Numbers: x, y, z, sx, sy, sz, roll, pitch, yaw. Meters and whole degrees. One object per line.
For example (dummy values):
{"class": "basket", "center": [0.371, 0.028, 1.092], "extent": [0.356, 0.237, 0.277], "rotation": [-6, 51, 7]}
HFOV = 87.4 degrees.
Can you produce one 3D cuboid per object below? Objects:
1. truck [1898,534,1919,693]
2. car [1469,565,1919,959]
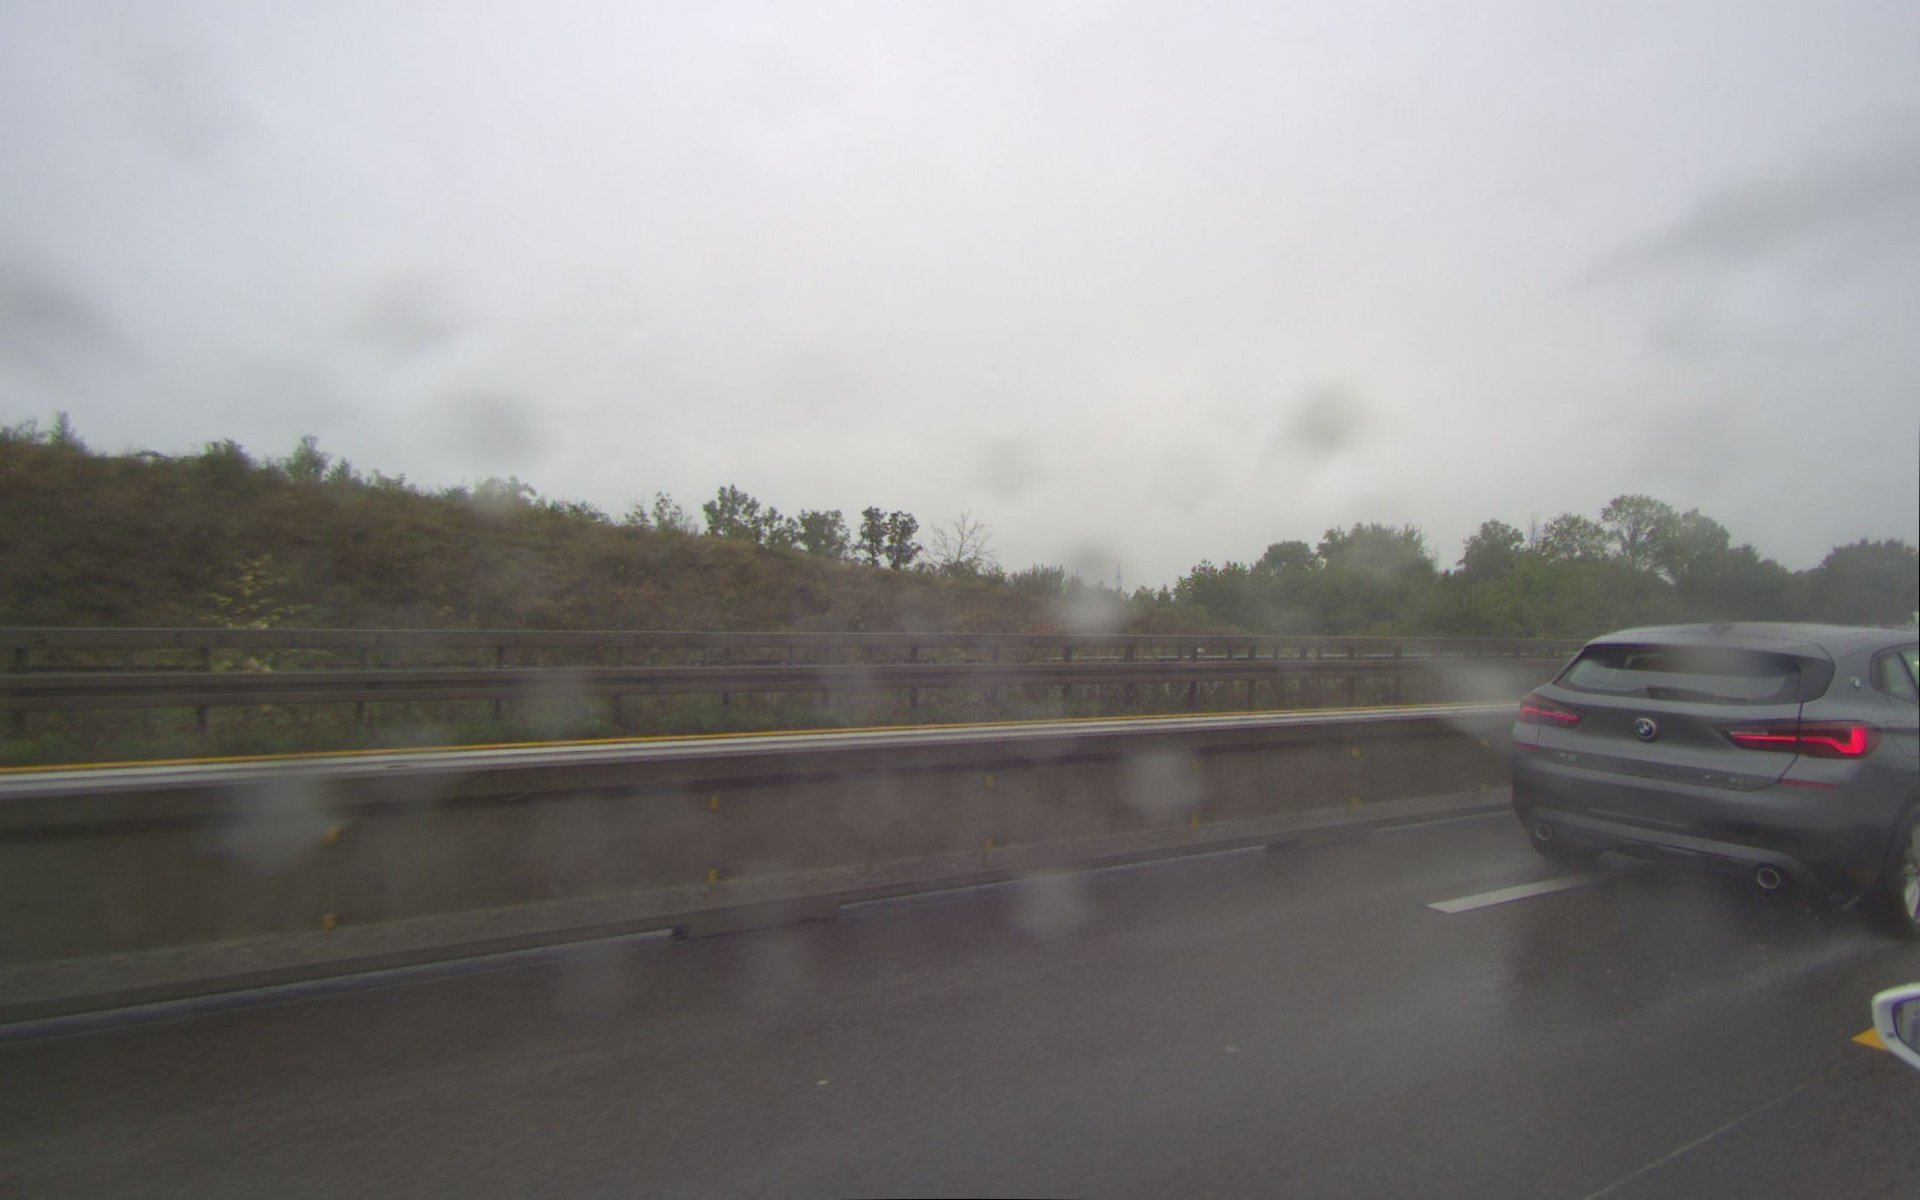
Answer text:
{"class": "truck", "center": [29.528, 0.477, 28.300], "extent": [6.670, 4.334, 2.695], "rotation": [2, -1, -30]}
{"class": "car", "center": [5.317, 0.756, 6.107], "extent": [4.789, 1.619, 1.692], "rotation": [2, -2, -31]}
